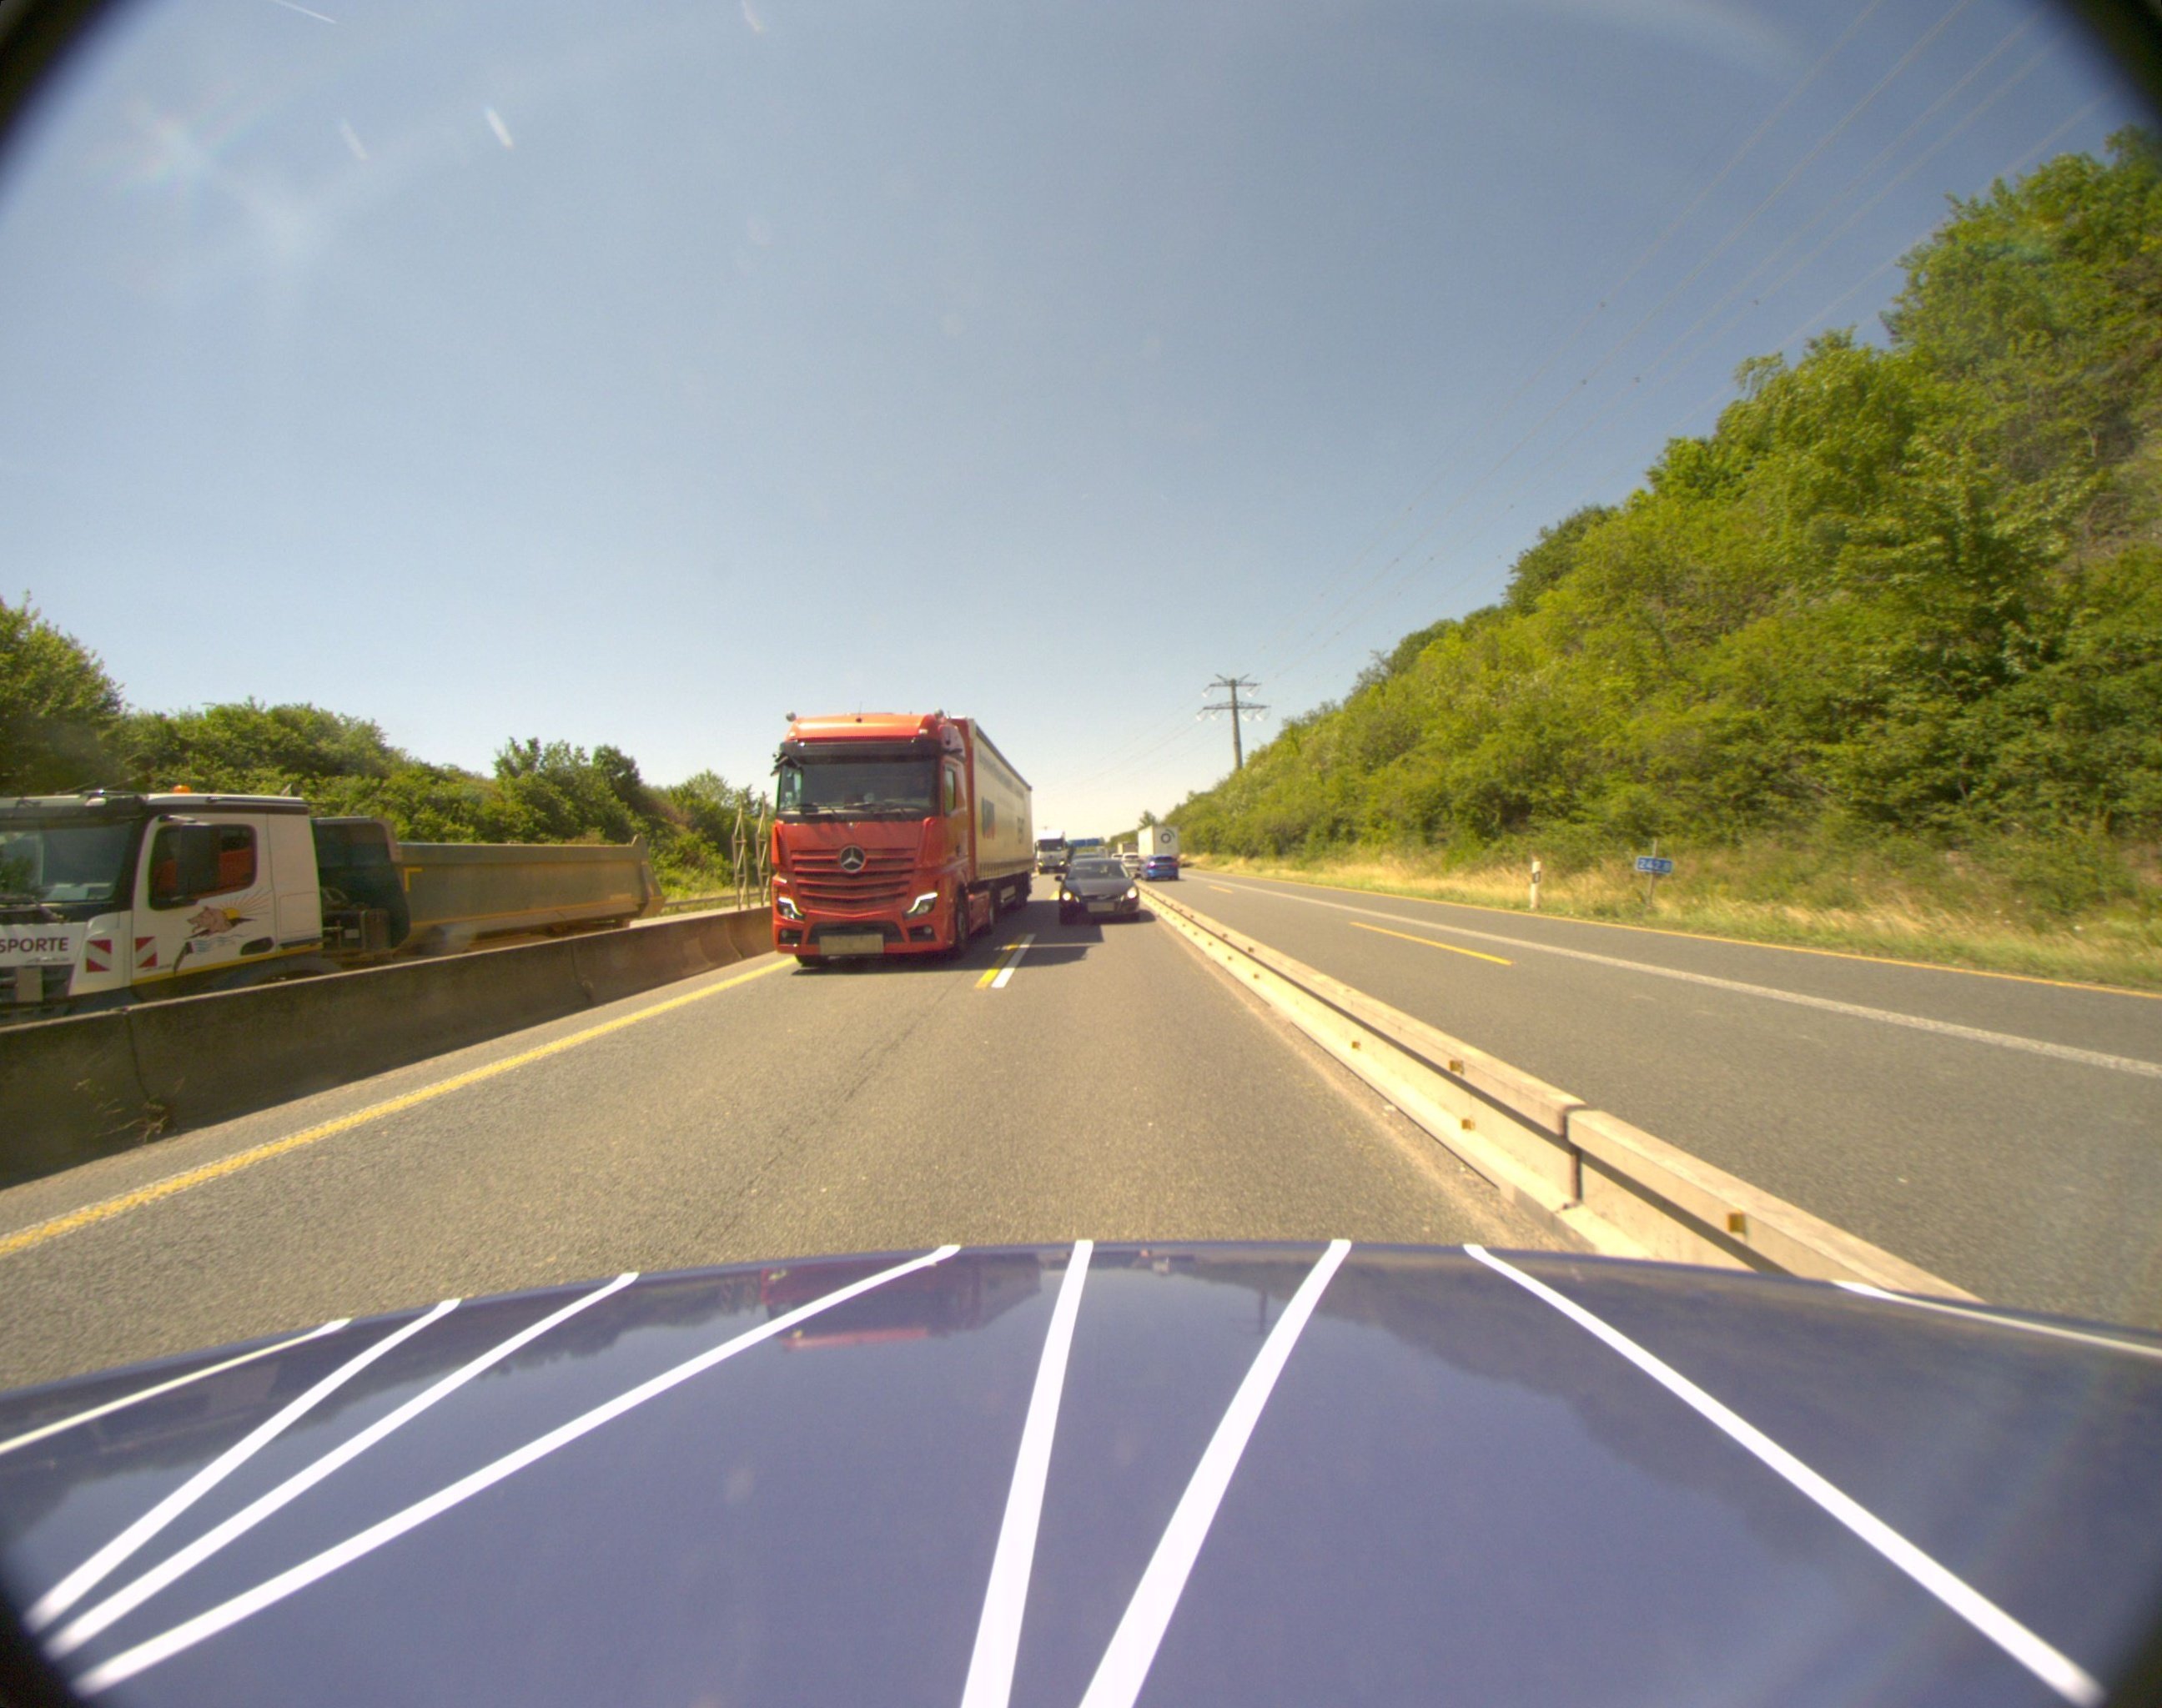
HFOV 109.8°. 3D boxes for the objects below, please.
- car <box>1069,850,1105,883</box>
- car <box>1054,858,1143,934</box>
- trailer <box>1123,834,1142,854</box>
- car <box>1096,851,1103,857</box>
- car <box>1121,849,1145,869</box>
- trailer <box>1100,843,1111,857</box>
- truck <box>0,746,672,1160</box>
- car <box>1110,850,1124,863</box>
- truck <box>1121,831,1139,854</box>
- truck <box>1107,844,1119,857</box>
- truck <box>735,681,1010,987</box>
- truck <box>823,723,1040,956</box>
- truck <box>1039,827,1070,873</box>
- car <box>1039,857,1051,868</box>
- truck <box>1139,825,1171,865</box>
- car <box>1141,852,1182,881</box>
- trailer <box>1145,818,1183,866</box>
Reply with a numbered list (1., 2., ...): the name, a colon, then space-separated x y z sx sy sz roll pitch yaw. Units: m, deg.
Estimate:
1. car: 0.343 0.630 40.367 1.767 1.523 4.698 -3 1 1
2. car: 0.396 0.871 17.896 1.767 1.411 4.698 -3 1 1
3. trailer: 9.097 -1.748 135.577 2.657 3.317 8.918 -4 0 1
4. car: 5.311 -0.029 214.862 1.846 1.481 4.510 -1 1 0
5. car: 4.680 0.398 68.364 1.767 1.622 4.296 -3 1 0
6. trailer: 7.581 -1.115 238.932 2.899 4.101 13.244 -4 0 1
7. truck: -9.731 0.864 10.994 2.539 3.490 9.096 -3 0 0
8. car: 4.845 0.313 103.062 1.829 1.621 4.150 -2 1 2
9. truck: 9.230 -2.159 144.888 2.656 3.969 9.650 -4 0 1
10. truck: 8.476 -0.976 203.231 2.412 3.312 7.495 -3 2 -2
11. truck: -3.117 -0.294 13.574 2.689 3.987 6.725 -3 1 1
12. truck: -2.997 -0.329 20.042 2.689 3.987 13.218 -3 1 1
13. truck: -2.458 -0.371 74.655 2.481 4.030 13.109 -3 0 0
14. car: -5.755 1.328 121.530 1.767 1.523 4.698 -3 1 -1
15. truck: 8.071 -0.953 83.972 2.416 3.969 10.351 -3 0 0
16. car: 4.320 0.632 41.492 1.717 1.417 4.169 -3 1 0
17. trailer: 8.022 -1.094 74.557 2.644 4.287 8.447 -3 0 0
